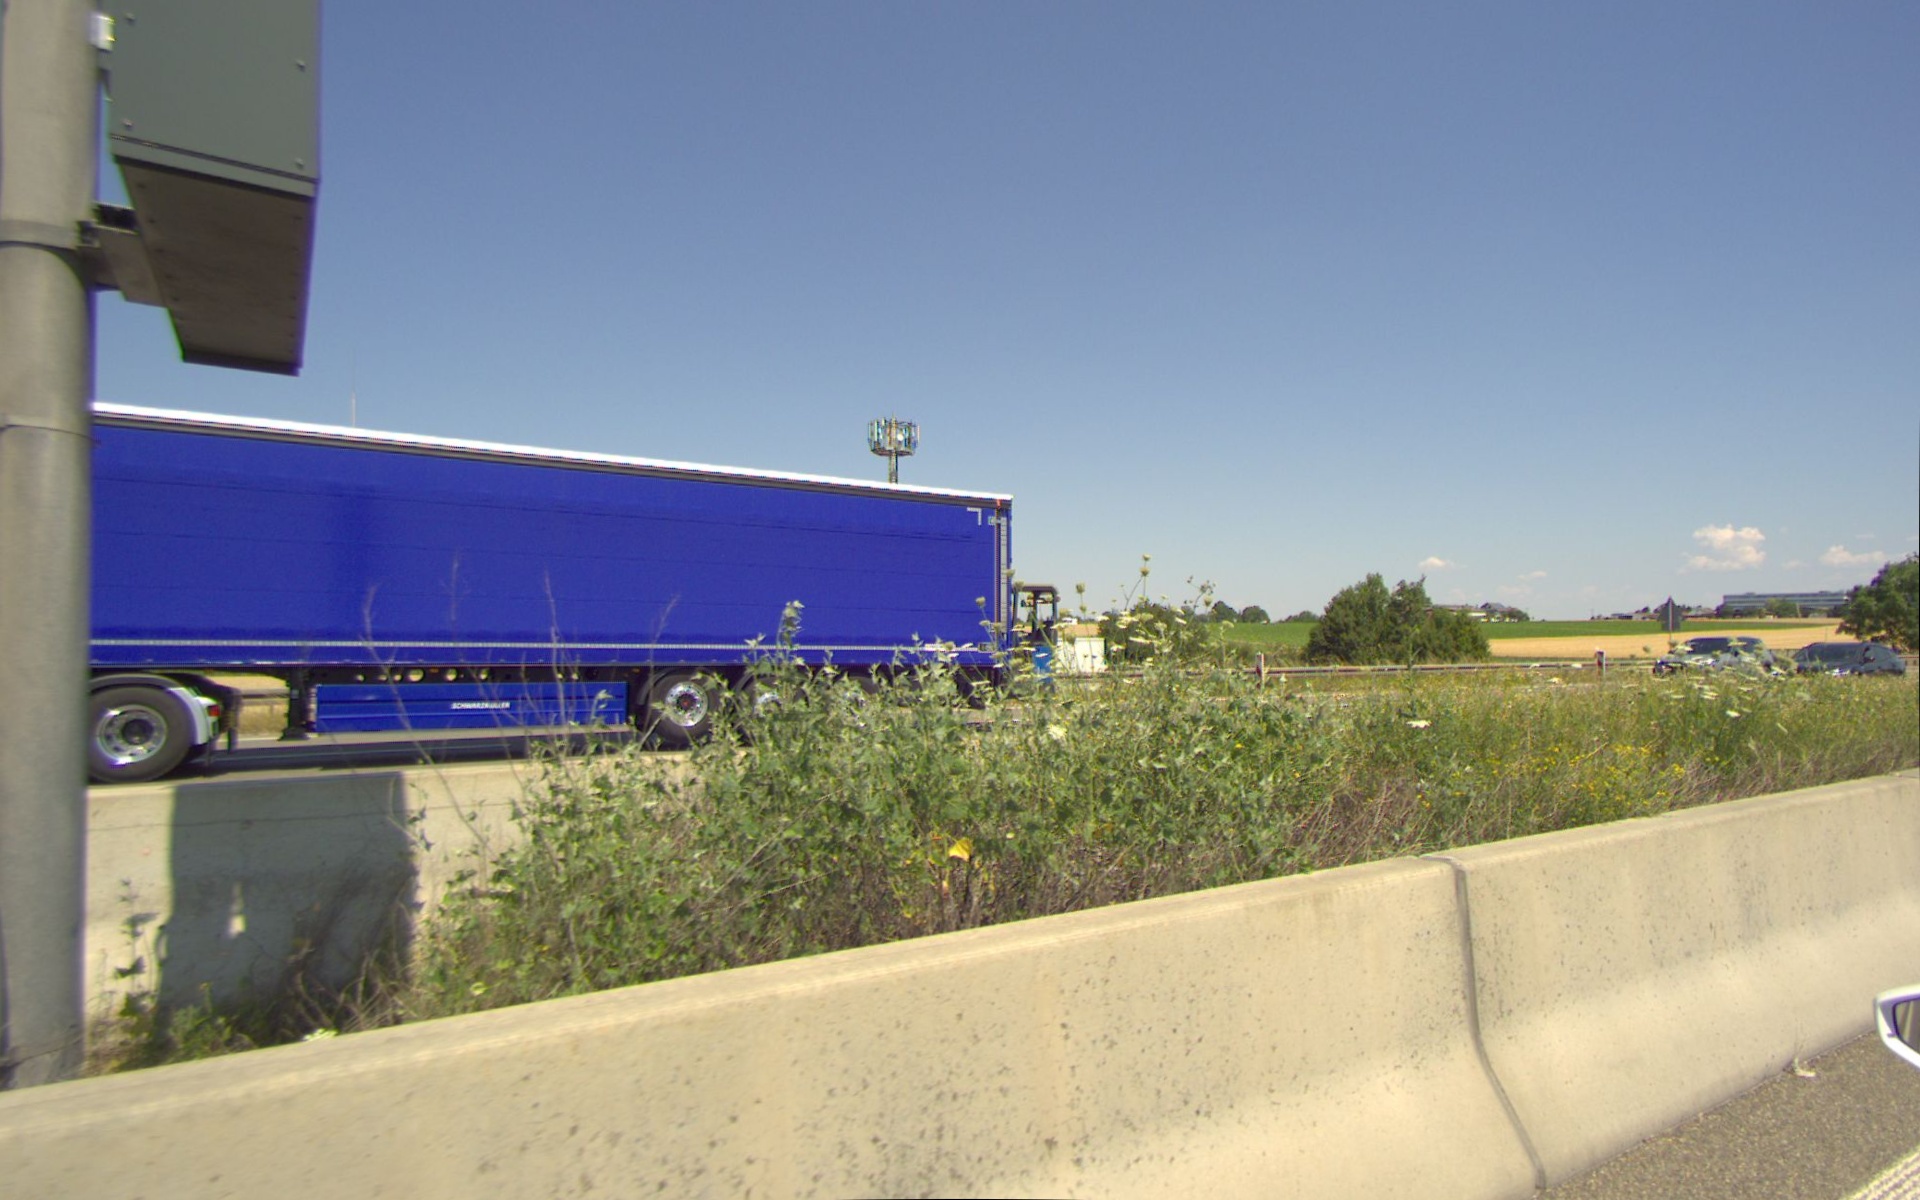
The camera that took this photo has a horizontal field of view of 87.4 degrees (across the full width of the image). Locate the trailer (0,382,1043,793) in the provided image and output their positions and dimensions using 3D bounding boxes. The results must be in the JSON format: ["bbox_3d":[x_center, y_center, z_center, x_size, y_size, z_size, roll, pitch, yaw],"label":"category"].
[{"bbox_3d":[-5.226,0.006,14.109,13.930,4.140,2.375,1,-2,-30],"label":"trailer"}]

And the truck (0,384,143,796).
[{"bbox_3d":[-11.648,-0.106,10.329,4.604,4.140,2.400,1,-2,-30],"label":"truck"}]

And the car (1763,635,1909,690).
[{"bbox_3d":[23.482,1.633,26.890,4.234,1.341,1.822,1,-3,-33],"label":"car"}]

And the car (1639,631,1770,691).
[{"bbox_3d":[22.941,1.859,30.937,4.033,1.742,1.824,1,-3,-31],"label":"car"}]

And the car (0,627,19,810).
[{"bbox_3d":[-9.592,0.939,6.959,4.179,1.528,1.581,1,-2,-30],"label":"car"}]
